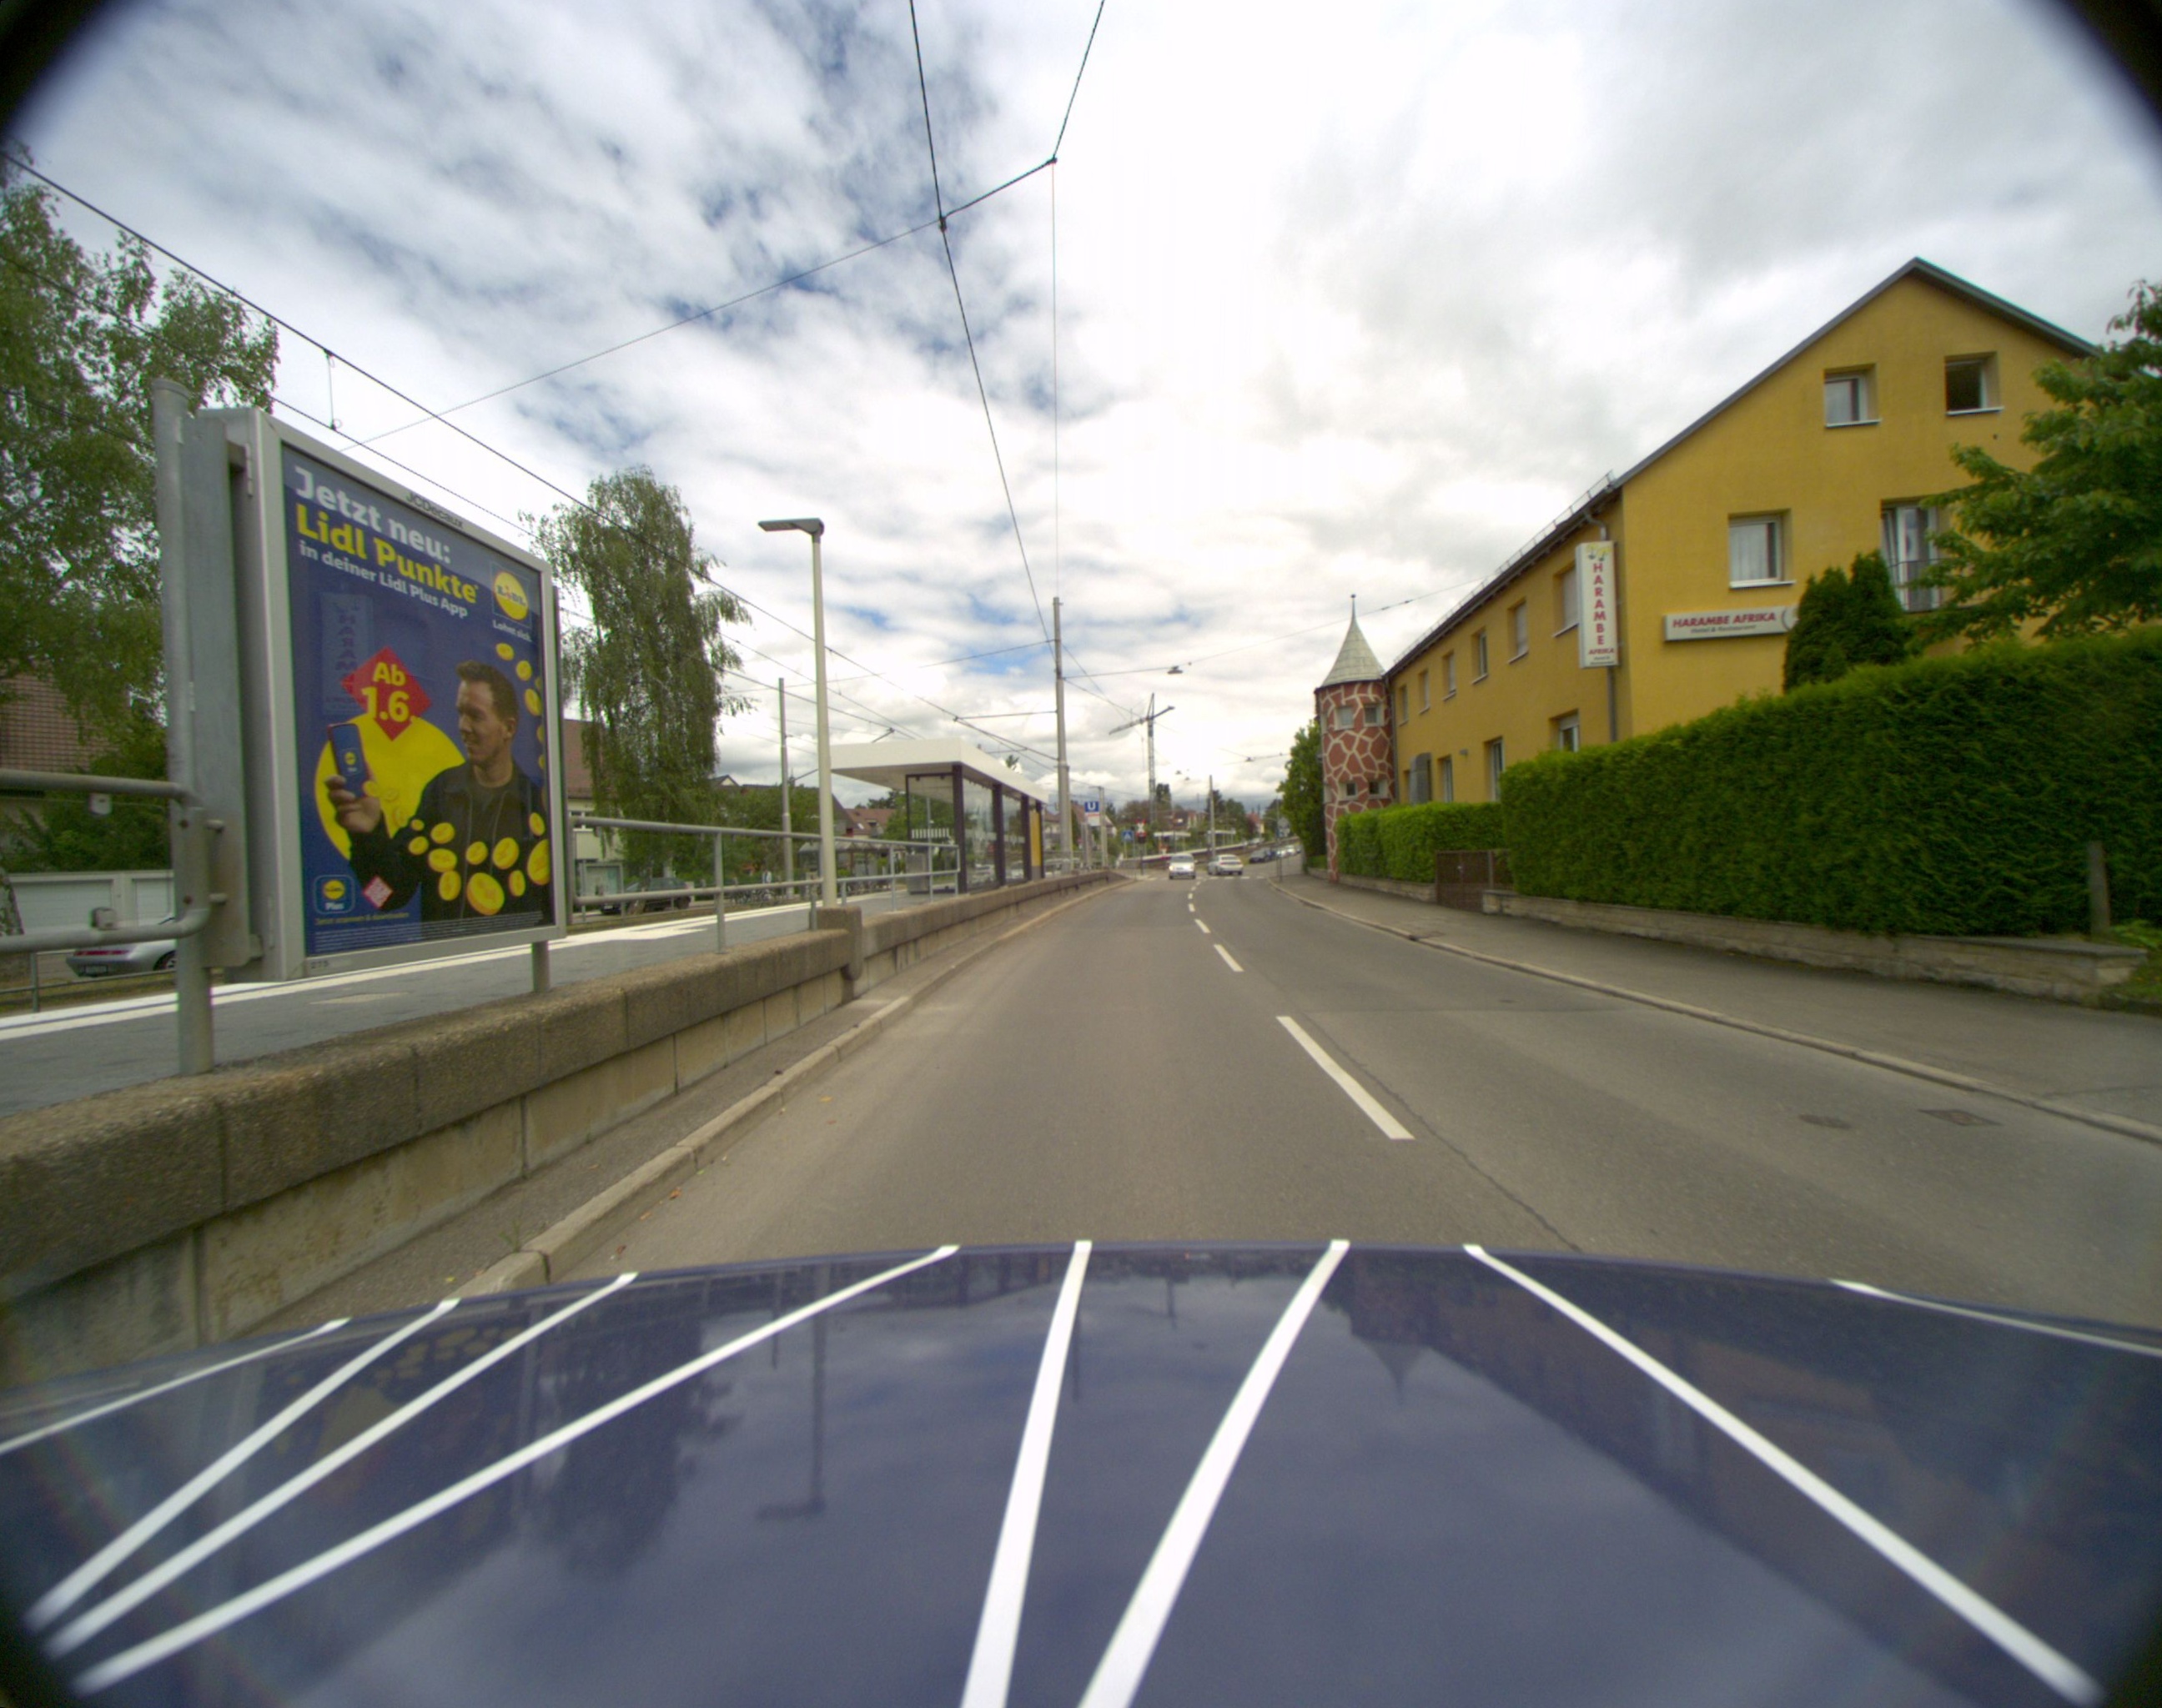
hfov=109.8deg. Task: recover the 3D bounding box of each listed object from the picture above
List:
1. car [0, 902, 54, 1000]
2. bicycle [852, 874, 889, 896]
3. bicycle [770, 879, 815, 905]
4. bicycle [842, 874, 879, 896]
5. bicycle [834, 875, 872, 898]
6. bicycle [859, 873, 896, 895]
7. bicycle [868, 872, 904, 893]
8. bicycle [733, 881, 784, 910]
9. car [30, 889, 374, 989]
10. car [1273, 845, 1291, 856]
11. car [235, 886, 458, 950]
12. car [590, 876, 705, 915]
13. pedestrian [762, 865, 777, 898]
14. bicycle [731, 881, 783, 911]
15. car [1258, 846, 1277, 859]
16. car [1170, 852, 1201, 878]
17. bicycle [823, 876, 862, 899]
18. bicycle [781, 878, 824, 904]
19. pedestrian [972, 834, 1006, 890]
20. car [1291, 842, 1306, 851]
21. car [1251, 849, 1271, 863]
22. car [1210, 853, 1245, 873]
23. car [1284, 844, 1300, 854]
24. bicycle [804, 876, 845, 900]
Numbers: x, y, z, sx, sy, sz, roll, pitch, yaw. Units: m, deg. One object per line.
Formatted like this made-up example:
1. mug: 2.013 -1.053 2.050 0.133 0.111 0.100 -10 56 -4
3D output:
1. car: -18.831 1.656 11.185 1.733 1.565 4.002 -3 0 8
2. bicycle: -10.944 1.606 39.514 1.767 1.035 0.557 -3 1 15
3. bicycle: -12.578 1.645 33.153 1.767 1.035 0.557 -3 1 15
4. bicycle: -11.231 1.591 38.701 1.767 1.035 0.557 -3 1 15
5. bicycle: -11.407 1.625 38.011 1.767 1.035 0.557 -3 1 15
6. bicycle: -10.764 1.591 40.211 1.767 1.035 0.557 -3 1 15
7. bicycle: -10.539 1.555 41.086 1.767 1.035 0.557 -3 1 15
8. bicycle: -12.946 1.661 30.540 1.769 1.035 0.557 -3 1 5
9. car: -18.133 1.660 16.061 2.067 1.565 4.263 -3 0 8
10. car: 27.667 -0.448 104.693 1.851 1.368 4.006 -3 0 22
11. car: -23.723 1.999 24.821 1.817 1.626 4.847 -2 0 24
12. car: -19.863 1.886 35.070 1.817 1.477 4.428 -2 0 20
13. pedestrian: -18.481 1.616 45.067 0.626 1.903 0.830 -2 -1 -9
14. bicycle: -12.687 1.644 29.802 1.769 1.035 0.557 -3 1 4
15. car: 23.276 -0.184 94.831 1.819 1.493 4.125 -3 0 20
16. car: 6.660 0.673 48.852 1.725 1.559 3.929 -3 0 5
17. bicycle: -11.668 1.633 37.147 1.767 1.035 0.557 -3 1 15
18. bicycle: -12.394 1.648 33.800 1.767 1.035 0.557 -3 1 15
19. pedestrian: -2.215 0.189 18.339 0.622 1.291 0.720 -2 1 3
20. car: 35.973 -1.194 125.722 1.851 1.368 4.006 -3 0 22
21. car: 21.083 0.189 88.886 1.819 1.493 4.125 -3 0 20
22. car: 10.607 0.617 55.275 1.823 1.411 4.463 0 0 2
23. car: 31.931 -0.769 114.878 1.851 1.368 4.006 -3 0 22
24. bicycle: -12.015 1.607 35.559 1.767 1.035 0.557 -3 1 15
